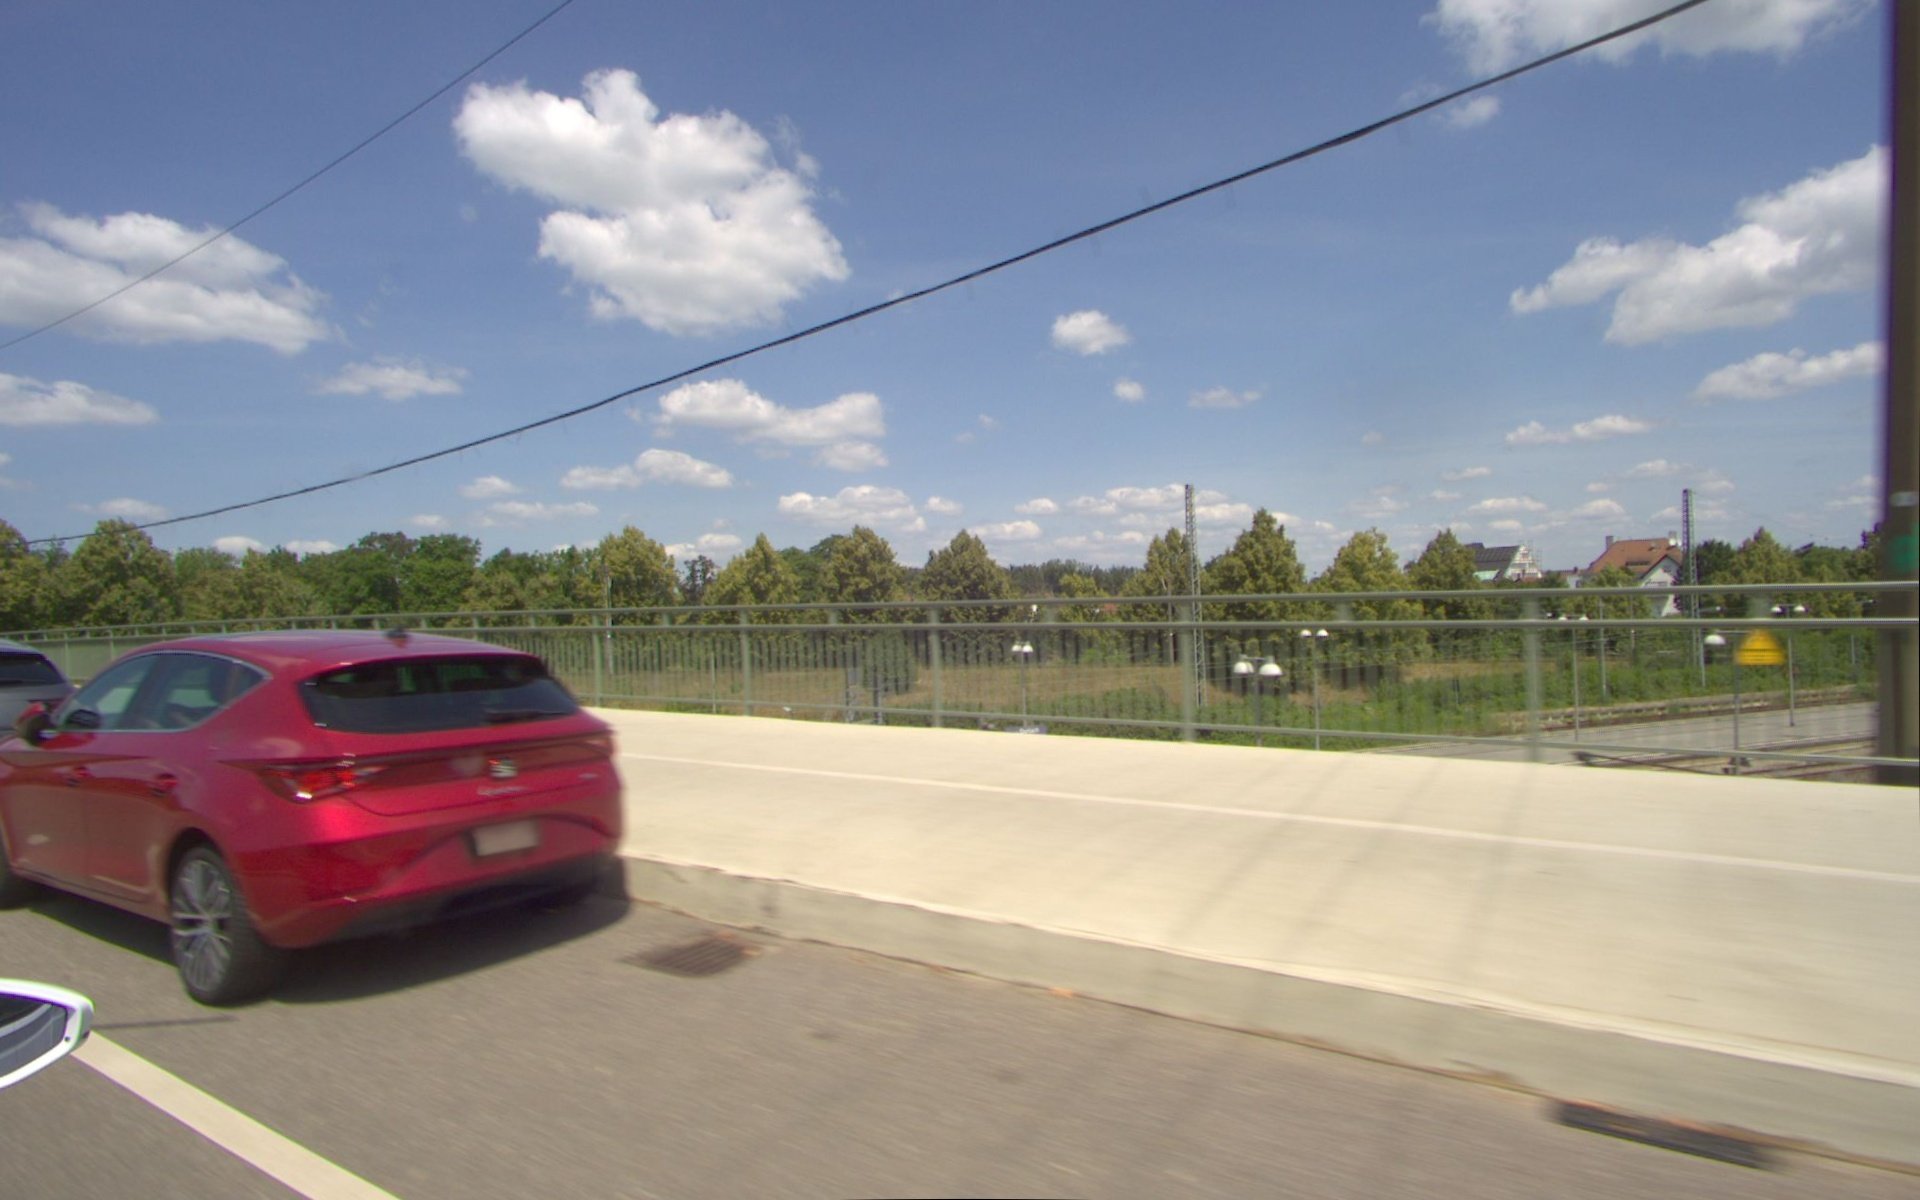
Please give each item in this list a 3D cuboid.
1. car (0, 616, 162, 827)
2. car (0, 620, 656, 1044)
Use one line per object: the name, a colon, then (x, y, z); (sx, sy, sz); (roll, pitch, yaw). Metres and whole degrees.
car: (-9.110, 0.928, 8.715); (4.654, 1.572, 1.990); (-1, -1, 32)
car: (-3.706, 0.856, 5.338); (4.224, 1.479, 1.644); (-1, -1, 32)
